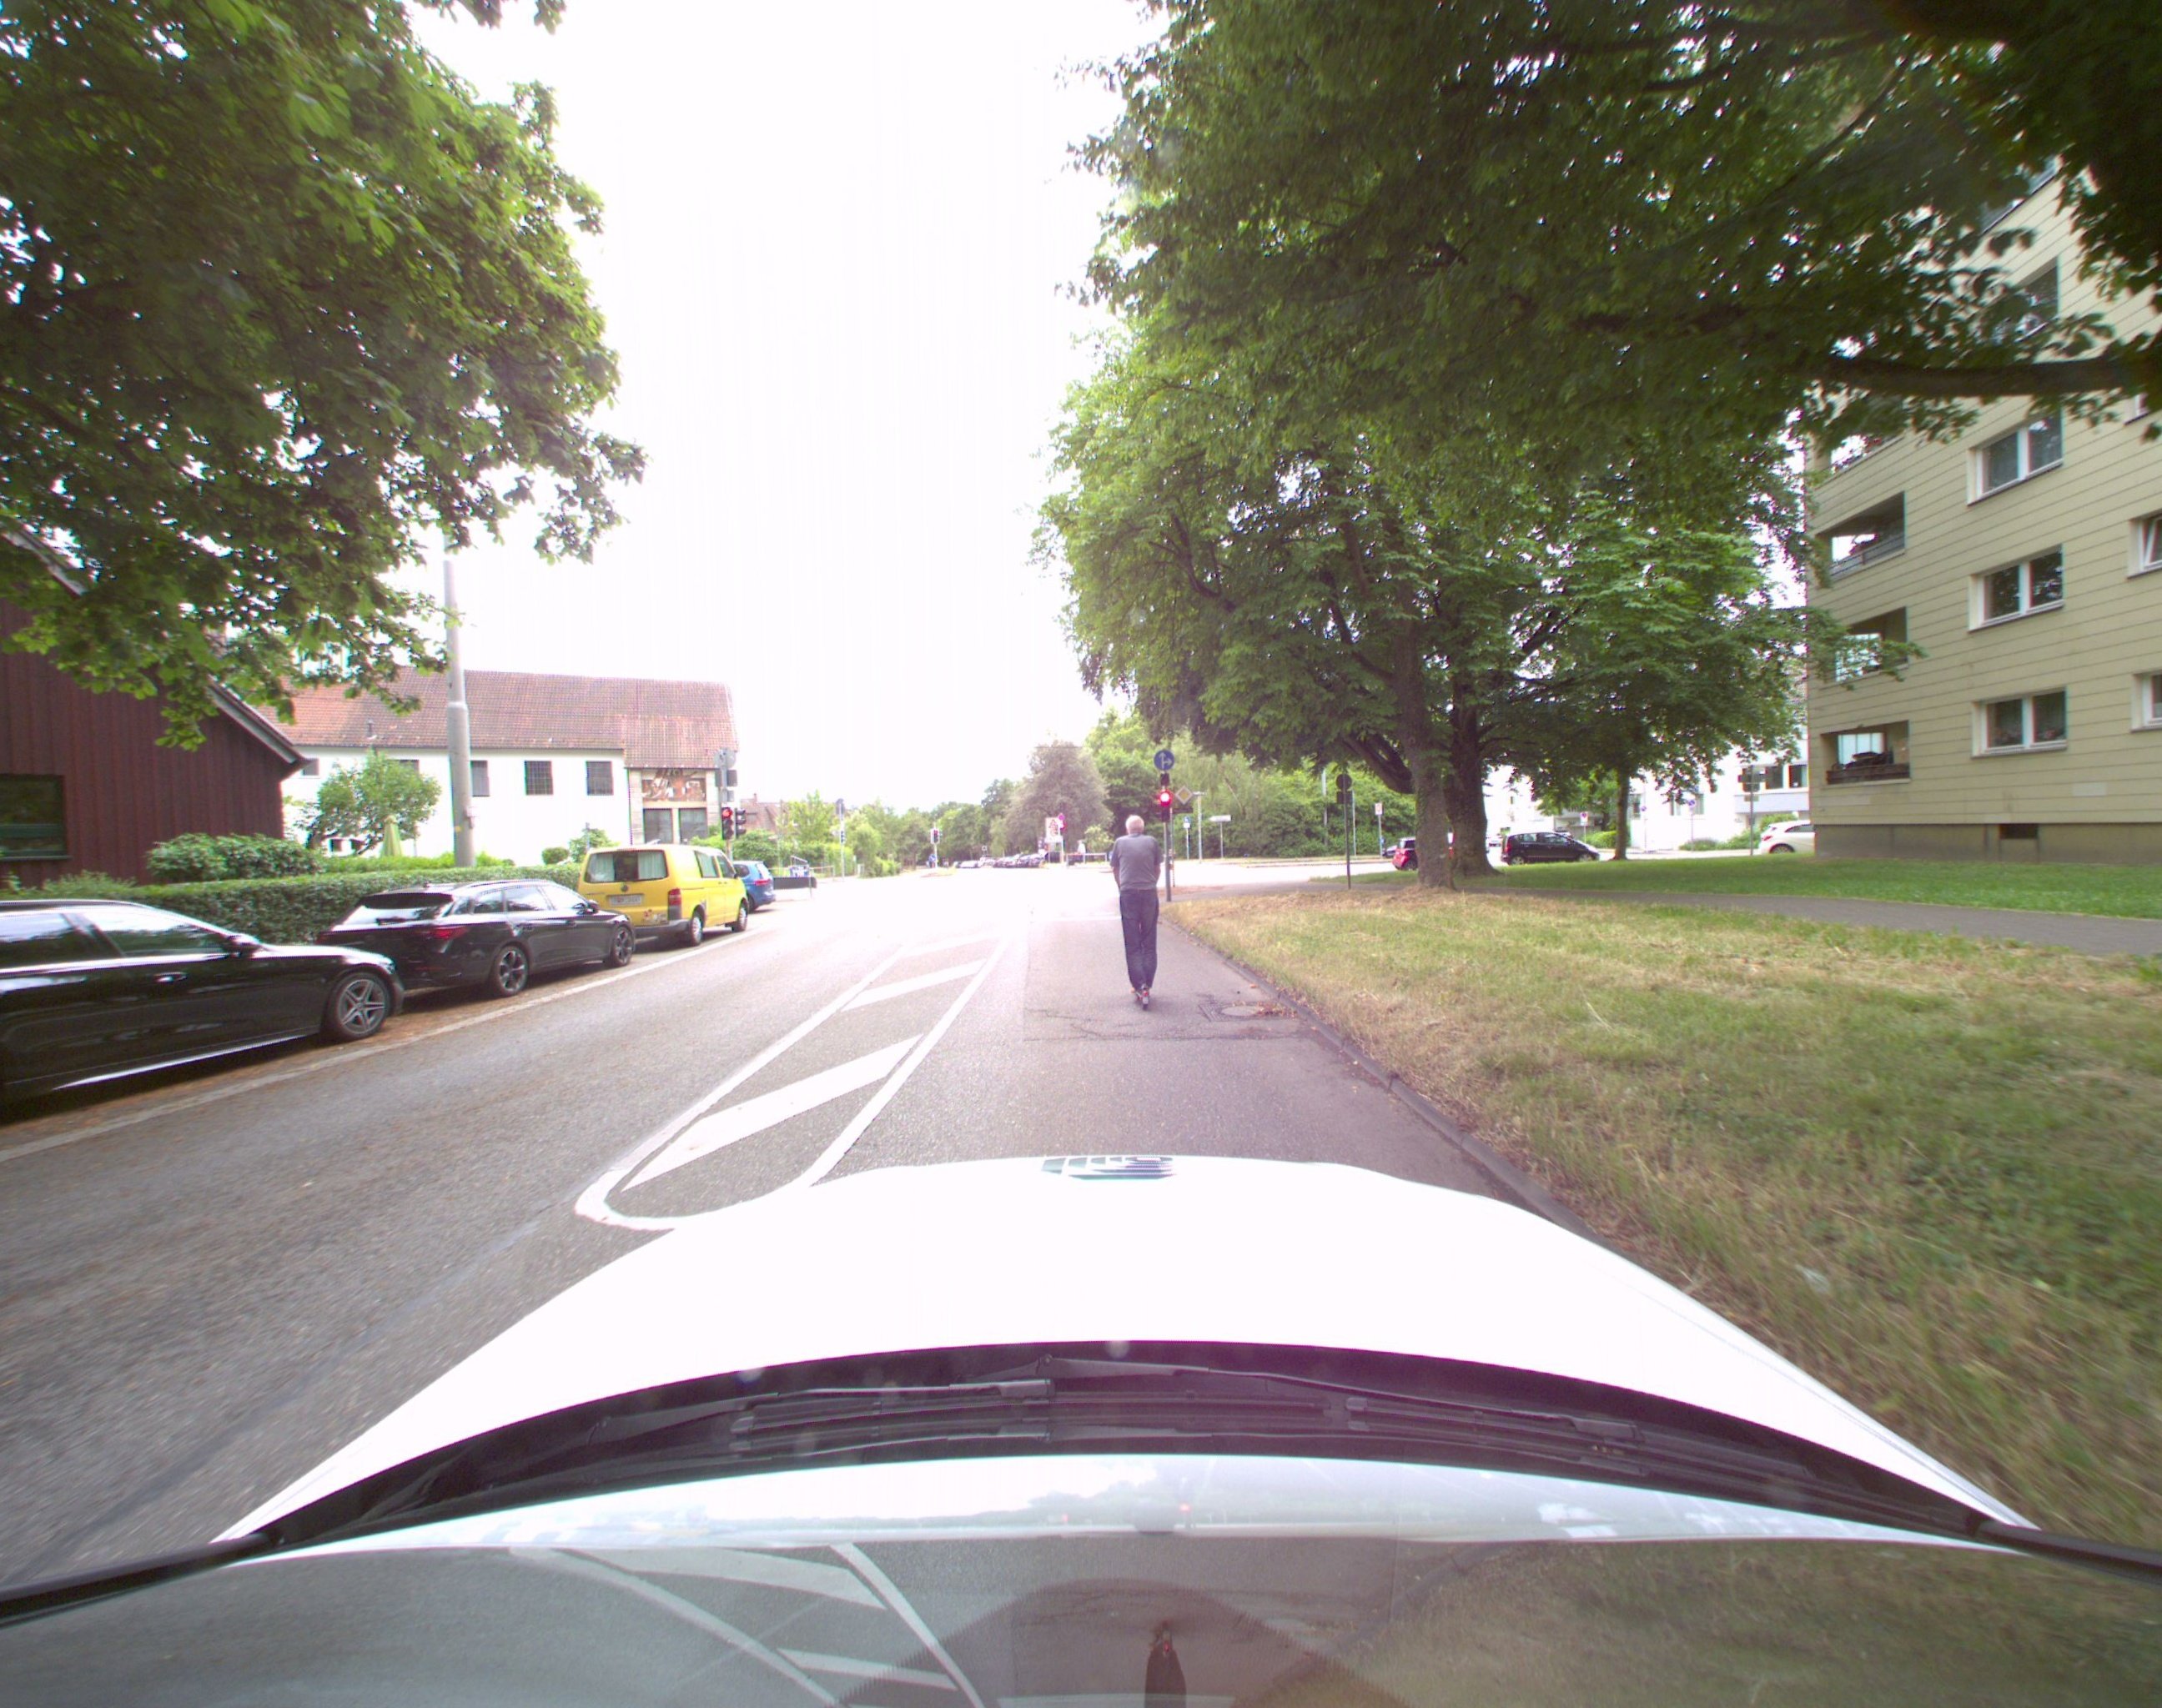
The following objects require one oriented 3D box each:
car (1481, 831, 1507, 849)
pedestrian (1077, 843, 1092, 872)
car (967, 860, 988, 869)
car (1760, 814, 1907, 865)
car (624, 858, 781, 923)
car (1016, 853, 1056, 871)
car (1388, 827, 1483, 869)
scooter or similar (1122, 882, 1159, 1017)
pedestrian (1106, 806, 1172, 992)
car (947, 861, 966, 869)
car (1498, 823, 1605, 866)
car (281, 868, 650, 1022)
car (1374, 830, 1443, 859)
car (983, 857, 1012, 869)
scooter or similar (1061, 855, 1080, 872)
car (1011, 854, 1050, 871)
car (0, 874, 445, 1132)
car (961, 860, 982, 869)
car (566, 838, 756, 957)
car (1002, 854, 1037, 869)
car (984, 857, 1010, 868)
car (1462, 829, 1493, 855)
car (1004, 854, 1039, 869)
[{"bbox_3d":[40.816,-1.370,80.529,1.708,1.610,3.874,-4,0,20],"label":"car"},{"bbox_3d":[0.237,0.217,54.653,0.878,1.862,0.576,-3,0,11],"label":"pedestrian"},{"bbox_3d":[-20.895,2.116,164.763,3.858,1.610,1.715,-4,0,-23],"label":"car"},{"bbox_3d":[27.409,-0.516,29.839,3.804,1.610,1.739,-3,0,41],"label":"car"},{"bbox_3d":[-11.392,1.067,24.799,3.995,1.610,1.809,-4,0,-15],"label":"car"},{"bbox_3d":[-4.807,0.862,87.575,3.859,1.610,1.714,-4,0,-24],"label":"car"},{"bbox_3d":[15.859,-0.270,36.570,3.501,1.610,1.731,-4,0,5],"label":"car"},{"bbox_3d":[0.588,0.901,8.057,0.280,1.178,1.178,-3,0,4],"label":"scooter or similar"},{"bbox_3d":[0.583,0.446,8.283,0.570,1.813,0.420,-3,0,1],"label":"pedestrian"},{"bbox_3d":[-28.464,2.572,186.132,3.858,1.610,1.715,-4,0,-23],"label":"car"},{"bbox_3d":[20.211,-0.409,35.146,3.806,1.610,1.738,-3,0,26],"label":"car"},{"bbox_3d":[-7.876,1.027,11.120,1.687,1.485,4.537,-3,0,-3],"label":"car"},{"bbox_3d":[20.043,-0.597,49.942,3.500,1.530,1.731,-4,0,6],"label":"car"},{"bbox_3d":[-12.239,1.315,119.685,3.858,1.610,1.715,-4,0,-23],"label":"car"},{"bbox_3d":[-0.701,0.666,54.792,1.100,1.081,0.579,-3,0,12],"label":"scooter or similar"},{"bbox_3d":[-5.571,0.892,90.111,3.858,1.610,1.715,-4,0,-23],"label":"car"},{"bbox_3d":[-7.712,1.018,6.227,1.987,1.500,4.614,-3,0,0],"label":"car"},{"bbox_3d":[-22.842,2.127,169.453,3.858,1.610,1.715,-4,0,-23],"label":"car"},{"bbox_3d":[-8.386,0.764,16.808,1.881,2.013,4.555,-3,0,-7],"label":"car"},{"bbox_3d":[-7.521,0.919,99.859,3.858,1.610,1.715,-4,0,-23],"label":"car"},{"bbox_3d":[-13.705,1.347,132.643,3.858,1.610,1.715,-4,0,-23],"label":"car"},{"bbox_3d":[27.526,-0.867,56.462,1.706,1.610,3.878,-3,0,28],"label":"car"},{"bbox_3d":[-7.115,0.896,97.449,3.858,1.610,1.715,-4,0,-23],"label":"car"}]
